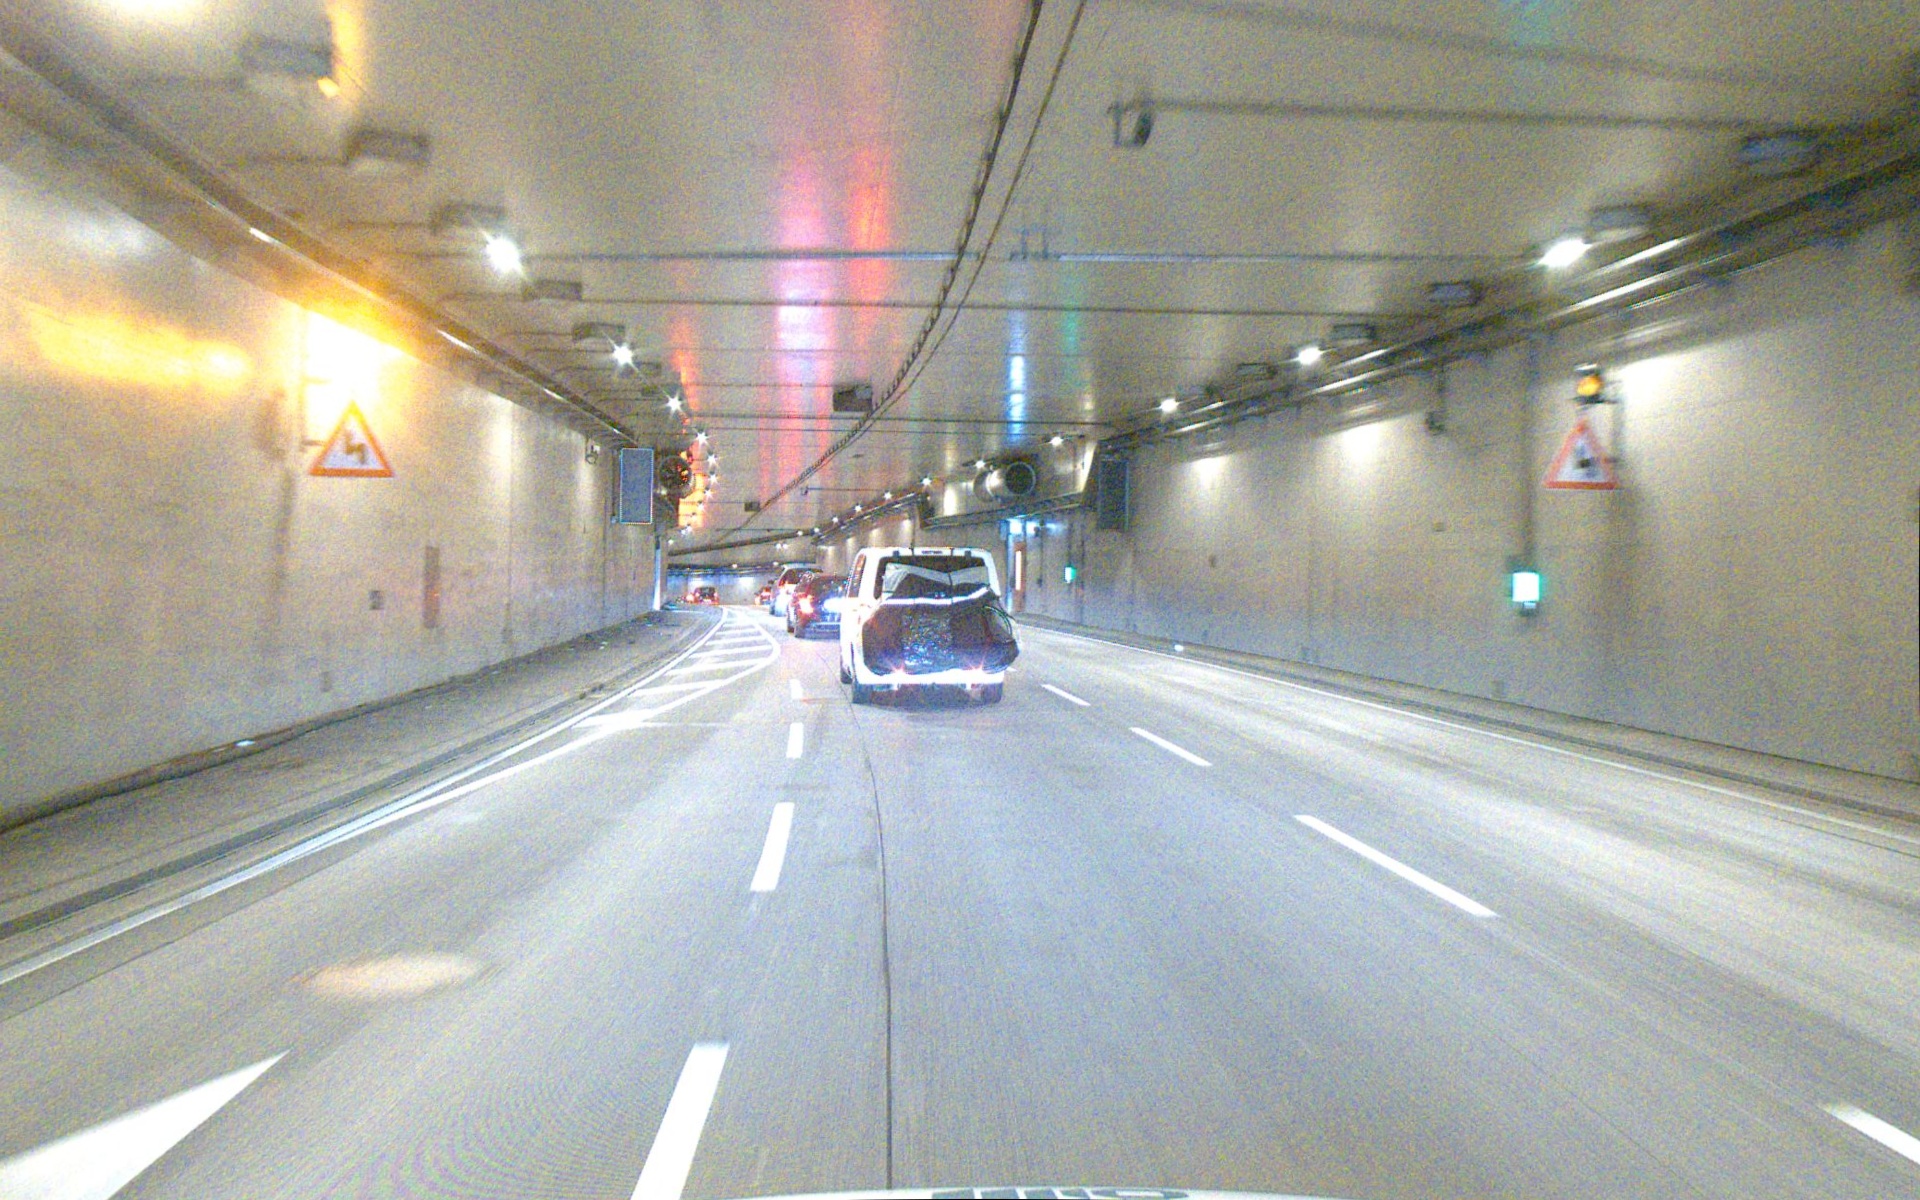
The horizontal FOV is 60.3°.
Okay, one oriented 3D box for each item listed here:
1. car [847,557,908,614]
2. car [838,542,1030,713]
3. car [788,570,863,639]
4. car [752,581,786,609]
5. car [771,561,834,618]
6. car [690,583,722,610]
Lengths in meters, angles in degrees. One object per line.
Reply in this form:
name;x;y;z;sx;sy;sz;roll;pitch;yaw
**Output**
car;-2.944;-0.481;58.509;1.837;1.792;3.994;2;-2;-7
car;-0.475;0.247;20.940;1.955;1.879;5.294;0;1;-6
car;-3.007;0.066;36.724;1.572;1.419;3.273;1;1;-6
car;-12.075;-0.292;104.366;1.790;1.659;3.832;2;-1;-12
car;-4.818;-0.294;50.265;1.574;1.622;3.347;2;-1;-10
car;-16.752;-0.197;108.950;1.790;1.659;3.832;2;-1;-12
